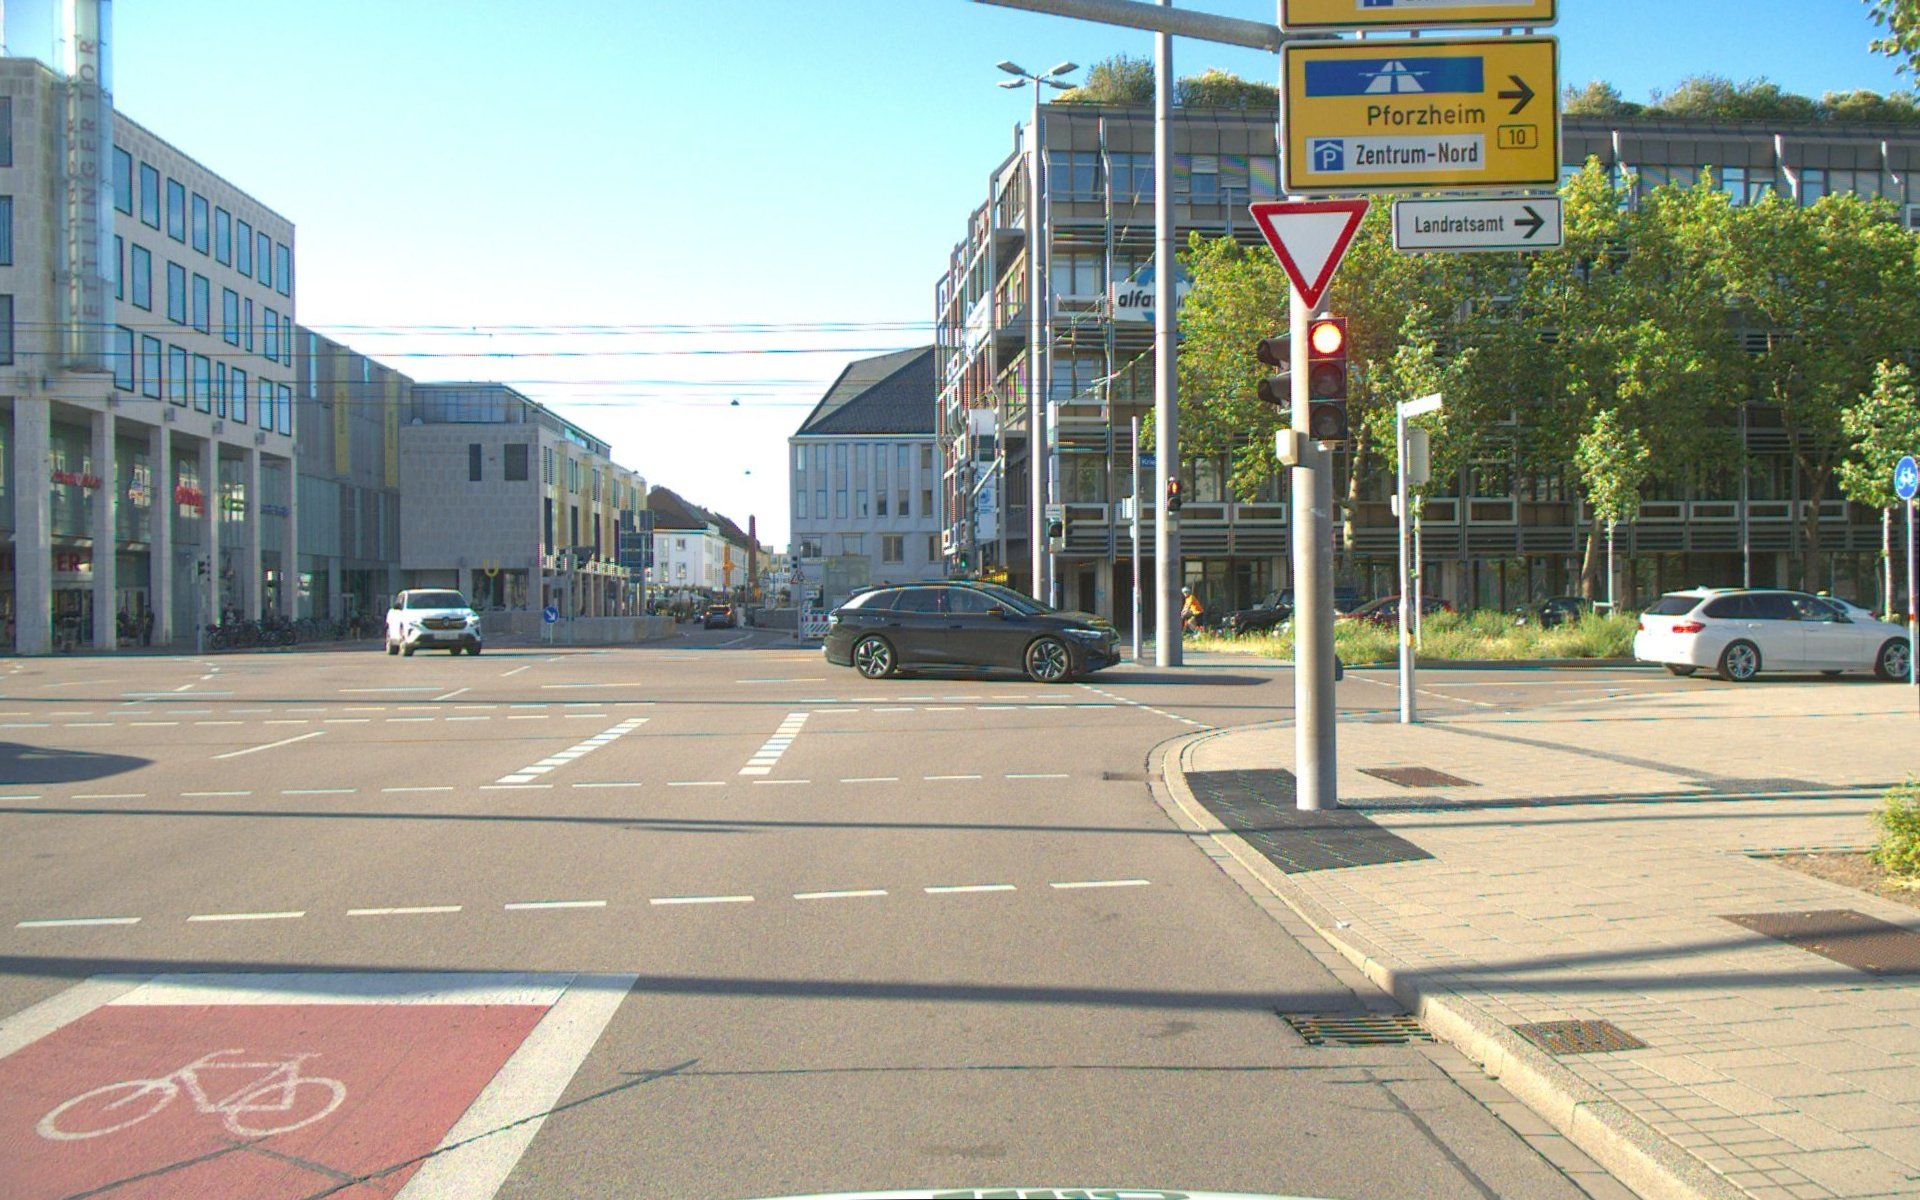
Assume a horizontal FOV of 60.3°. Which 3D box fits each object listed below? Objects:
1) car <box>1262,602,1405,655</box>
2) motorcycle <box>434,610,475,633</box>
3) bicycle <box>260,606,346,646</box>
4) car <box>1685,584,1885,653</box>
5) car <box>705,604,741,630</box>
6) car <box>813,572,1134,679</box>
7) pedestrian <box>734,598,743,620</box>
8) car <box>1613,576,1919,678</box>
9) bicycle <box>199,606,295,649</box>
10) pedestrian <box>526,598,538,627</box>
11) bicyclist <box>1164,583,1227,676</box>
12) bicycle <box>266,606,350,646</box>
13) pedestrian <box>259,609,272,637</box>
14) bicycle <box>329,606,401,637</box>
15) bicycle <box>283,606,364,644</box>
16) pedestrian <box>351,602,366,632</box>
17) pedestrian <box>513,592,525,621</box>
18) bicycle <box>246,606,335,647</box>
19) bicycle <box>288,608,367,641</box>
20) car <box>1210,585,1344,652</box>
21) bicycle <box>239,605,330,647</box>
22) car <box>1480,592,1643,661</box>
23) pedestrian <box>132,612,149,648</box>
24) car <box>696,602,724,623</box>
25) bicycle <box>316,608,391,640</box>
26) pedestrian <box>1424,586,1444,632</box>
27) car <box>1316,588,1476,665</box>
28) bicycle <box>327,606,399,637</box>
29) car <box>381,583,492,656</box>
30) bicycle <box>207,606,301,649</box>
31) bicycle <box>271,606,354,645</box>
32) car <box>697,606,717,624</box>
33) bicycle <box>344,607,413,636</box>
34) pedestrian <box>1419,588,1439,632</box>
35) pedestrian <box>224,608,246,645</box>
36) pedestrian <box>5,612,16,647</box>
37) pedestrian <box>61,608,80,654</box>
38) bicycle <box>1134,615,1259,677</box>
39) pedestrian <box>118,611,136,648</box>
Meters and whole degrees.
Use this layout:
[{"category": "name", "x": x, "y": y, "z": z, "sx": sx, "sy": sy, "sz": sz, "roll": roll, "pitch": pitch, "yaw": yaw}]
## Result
[{"category": "car", "x": 11.443, "y": 0.863, "z": 50.821, "sx": 3.908, "sy": 1.534, "sz": 1.867, "roll": 1, "pitch": 0, "yaw": -4}, {"category": "motorcycle", "x": -29.833, "y": 1.276, "z": 97.652, "sx": 2.230, "sy": 1.341, "sz": 0.719, "roll": -1, "pitch": 0, "yaw": -6}, {"category": "bicycle", "x": -29.570, "y": 1.172, "z": 74.499, "sx": 3.430, "sy": 1.726, "sz": 0.984, "roll": -1, "pitch": 0, "yaw": -12}, {"category": "car", "x": 26.175, "y": 0.575, "z": 52.580, "sx": 5.332, "sy": 2.049, "sz": 2.096, "roll": 1, "pitch": 0, "yaw": -3}, {"category": "car", "x": -15.493, "y": 1.098, "z": 108.168, "sx": 2.157, "sy": 1.635, "sz": 4.320, "roll": -1, "pitch": 0, "yaw": -6}, {"category": "car", "x": 0.241, "y": 0.413, "z": 26.830, "sx": 4.833, "sy": 1.630, "sz": 2.001, "roll": -1, "pitch": -1, "yaw": 17}, {"category": "pedestrian", "x": -14.493, "y": 0.595, "z": 108.270, "sx": 0.598, "sy": 1.436, "sz": 0.569, "roll": -1, "pitch": 0, "yaw": -7}, {"category": "car", "x": 13.382, "y": 0.411, "z": 27.156, "sx": 4.602, "sy": 1.554, "sz": 1.995, "roll": -1, "pitch": 0, "yaw": -11}, {"category": "bicycle", "x": -29.319, "y": 1.117, "z": 68.038, "sx": 3.427, "sy": 1.726, "sz": 1.114, "roll": -1, "pitch": 0, "yaw": -10}, {"category": "pedestrian", "x": -30.450, "y": 0.867, "z": 117.769, "sx": 0.613, "sy": 2.049, "sz": 0.734, "roll": -1, "pitch": 0, "yaw": 1}, {"category": "bicyclist", "x": 6.721, "y": 0.832, "z": 47.228, "sx": 1.539, "sy": 2.625, "sz": 0.930, "roll": -1, "pitch": 0, "yaw": -10}, {"category": "bicycle", "x": -29.794, "y": 1.182, "z": 75.587, "sx": 3.430, "sy": 1.726, "sz": 0.984, "roll": -1, "pitch": 0, "yaw": -12}, {"category": "pedestrian", "x": -36.586, "y": 1.228, "z": 87.150, "sx": 0.629, "sy": 1.460, "sz": 0.472, "roll": -1, "pitch": 0, "yaw": -23}, {"category": "bicycle", "x": -31.385, "y": 1.112, "z": 87.249, "sx": 3.430, "sy": 1.554, "sz": 0.984, "roll": -1, "pitch": 0, "yaw": -12}, {"category": "bicycle", "x": -30.334, "y": 1.192, "z": 78.872, "sx": 3.430, "sy": 1.726, "sz": 0.984, "roll": -1, "pitch": 0, "yaw": -12}, {"category": "pedestrian", "x": -33.755, "y": 0.963, "z": 92.813, "sx": 0.641, "sy": 1.671, "sz": 0.693, "roll": -1, "pitch": 0, "yaw": -9}, {"category": "pedestrian", "x": -31.399, "y": 0.476, "z": 117.729, "sx": 0.613, "sy": 2.049, "sz": 0.734, "roll": -1, "pitch": 0, "yaw": 1}, {"category": "bicycle", "x": -29.095, "y": 1.127, "z": 71.930, "sx": 3.427, "sy": 1.726, "sz": 1.114, "roll": -1, "pitch": 0, "yaw": -10}, {"category": "bicycle", "x": -30.538, "y": 1.175, "z": 79.861, "sx": 3.430, "sy": 1.554, "sz": 0.984, "roll": -1, "pitch": 0, "yaw": -12}, {"category": "car", "x": 10.308, "y": 0.597, "z": 53.924, "sx": 3.908, "sy": 2.049, "sz": 1.999, "roll": 1, "pitch": 0, "yaw": -3}, {"category": "bicycle", "x": -28.864, "y": 1.091, "z": 70.718, "sx": 3.427, "sy": 1.726, "sz": 1.114, "roll": -1, "pitch": 0, "yaw": -10}, {"category": "car", "x": 18.830, "y": 0.819, "z": 51.885, "sx": 4.359, "sy": 2.049, "sz": 1.998, "roll": 1, "pitch": 0, "yaw": -6}, {"category": "pedestrian", "x": -34.784, "y": 1.276, "z": 70.228, "sx": 0.472, "sy": 1.537, "sz": 0.513, "roll": -1, "pitch": 0, "yaw": -5}, {"category": "car", "x": -20.996, "y": 1.057, "z": 139.134, "sx": 1.954, "sy": 1.689, "sz": 4.402, "roll": -1, "pitch": 0, "yaw": -5}, {"category": "bicycle", "x": -30.881, "y": 1.216, "z": 84.271, "sx": 3.430, "sy": 1.554, "sz": 0.984, "roll": -1, "pitch": 0, "yaw": -12}, {"category": "pedestrian", "x": 17.592, "y": 0.335, "z": 61.374, "sx": 0.529, "sy": 1.698, "sz": 0.536, "roll": -1, "pitch": 0, "yaw": -3}, {"category": "car", "x": 12.235, "y": 0.732, "z": 46.583, "sx": 3.908, "sy": 2.049, "sz": 1.999, "roll": 1, "pitch": 0, "yaw": -3}, {"category": "bicycle", "x": -31.069, "y": 1.124, "z": 86.133, "sx": 3.430, "sy": 1.554, "sz": 0.984, "roll": -1, "pitch": 0, "yaw": -12}, {"category": "car", "x": -13.008, "y": 0.436, "z": 40.954, "sx": 1.969, "sy": 1.689, "sz": 4.369, "roll": -1, "pitch": 1, "yaw": -26}, {"category": "bicycle", "x": -29.553, "y": 1.159, "z": 69.251, "sx": 3.427, "sy": 1.726, "sz": 1.114, "roll": -1, "pitch": 0, "yaw": -10}, {"category": "bicycle", "x": -30.035, "y": 1.183, "z": 76.786, "sx": 3.430, "sy": 1.726, "sz": 0.984, "roll": -1, "pitch": 0, "yaw": -12}, {"category": "car", "x": -26.266, "y": 1.576, "z": 172.042, "sx": 1.722, "sy": 1.814, "sz": 3.997, "roll": -1, "pitch": 0, "yaw": -4}, {"category": "bicycle", "x": -31.780, "y": 1.172, "z": 90.405, "sx": 3.430, "sy": 1.554, "sz": 0.984, "roll": -1, "pitch": 0, "yaw": -12}, {"category": "pedestrian", "x": 17.587, "y": 0.373, "z": 62.006, "sx": 0.529, "sy": 1.618, "sz": 0.586, "roll": -1, "pitch": 0, "yaw": -3}, {"category": "pedestrian", "x": -33.084, "y": 1.192, "z": 75.453, "sx": 0.770, "sy": 1.671, "sz": 0.693, "roll": -1, "pitch": 0, "yaw": -11}, {"category": "pedestrian", "x": -40.197, "y": 1.258, "z": 70.029, "sx": 0.382, "sy": 1.451, "sz": 0.498, "roll": -1, "pitch": 0, "yaw": -28}, {"category": "pedestrian", "x": -32.634, "y": 1.118, "z": 60.687, "sx": 0.533, "sy": 1.671, "sz": 0.546, "roll": -1, "pitch": 0, "yaw": -24}, {"category": "bicycle", "x": 6.751, "y": 1.301, "z": 47.228, "sx": 3.427, "sy": 1.688, "sz": 0.929, "roll": -1, "pitch": 0, "yaw": -10}, {"category": "pedestrian", "x": -35.041, "y": 1.252, "z": 69.595, "sx": 0.501, "sy": 1.537, "sz": 0.513, "roll": -1, "pitch": 0, "yaw": -5}]
